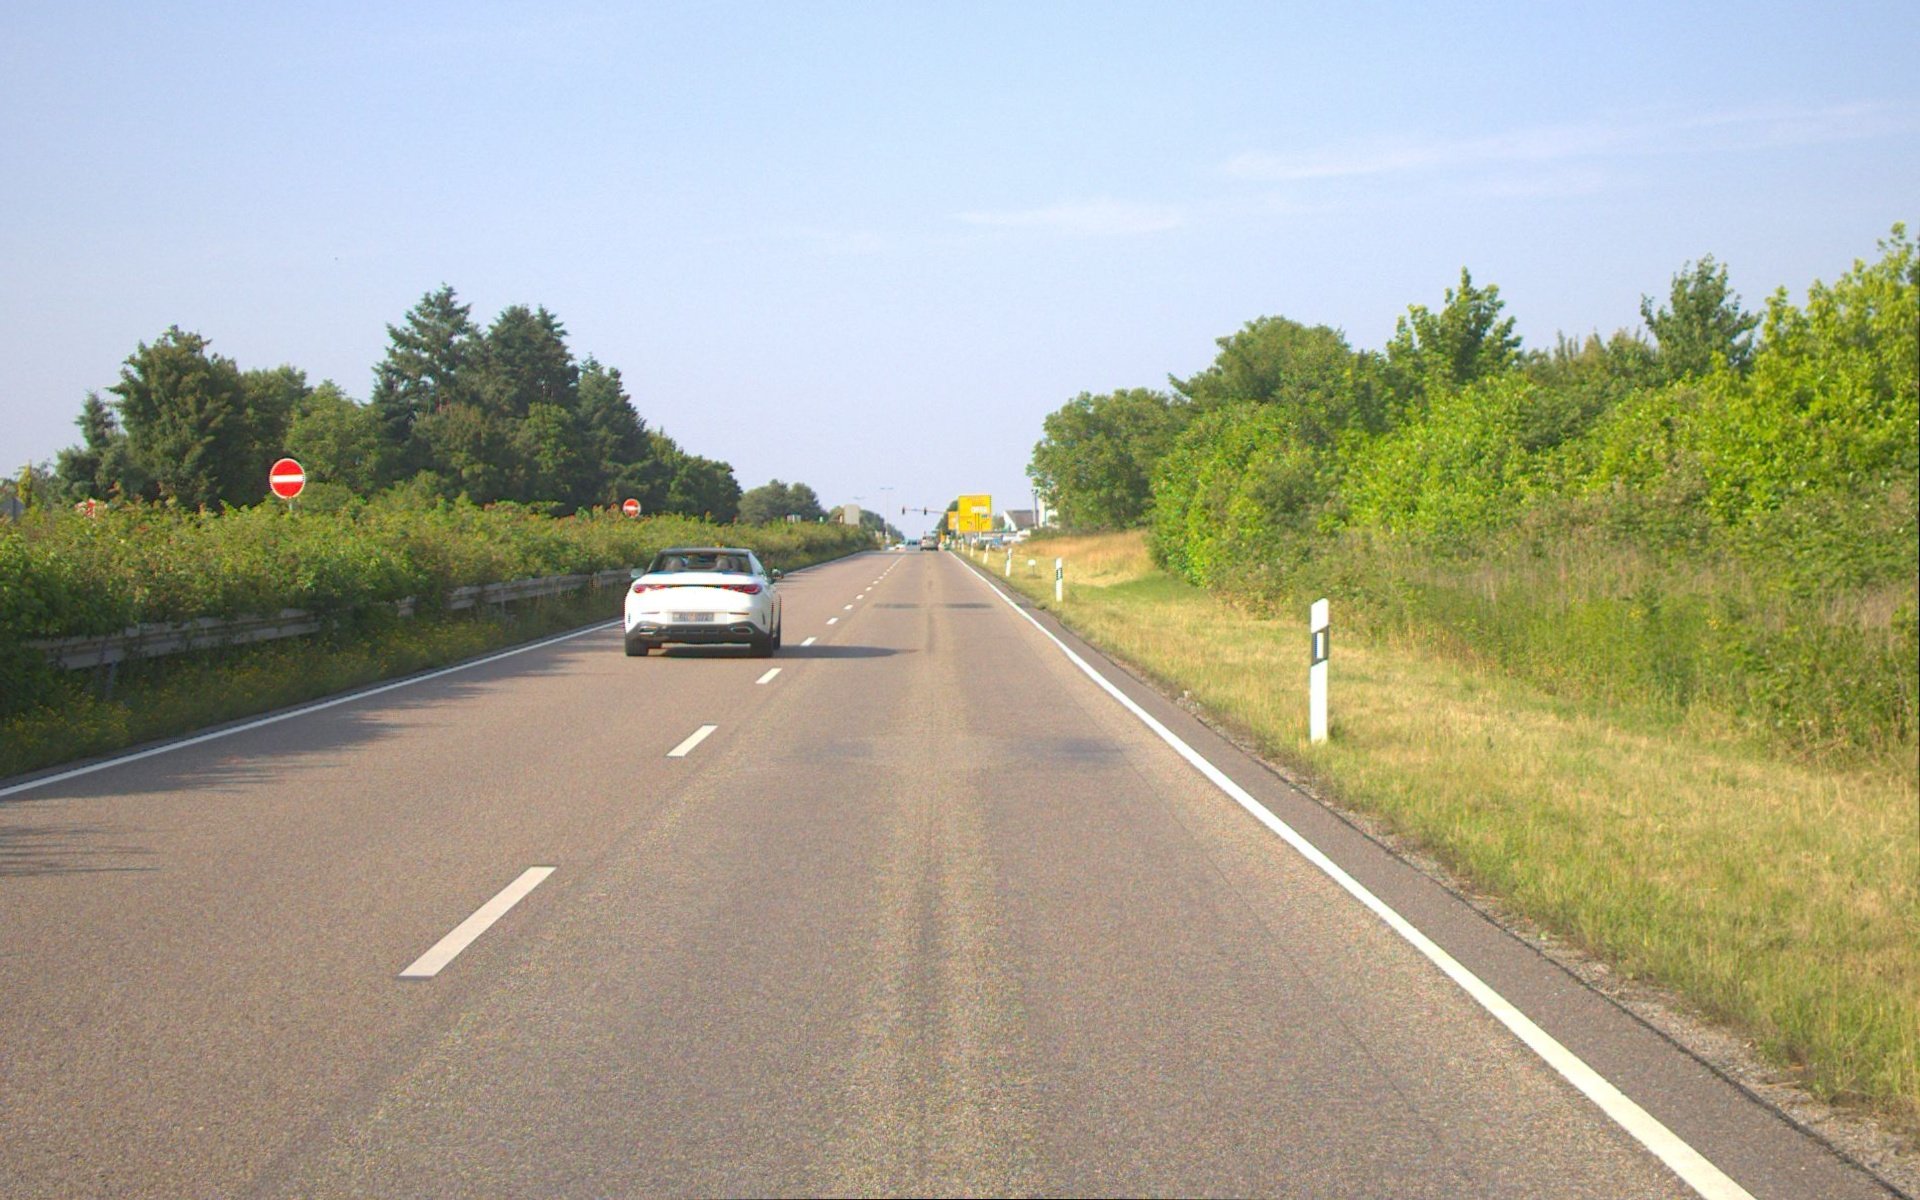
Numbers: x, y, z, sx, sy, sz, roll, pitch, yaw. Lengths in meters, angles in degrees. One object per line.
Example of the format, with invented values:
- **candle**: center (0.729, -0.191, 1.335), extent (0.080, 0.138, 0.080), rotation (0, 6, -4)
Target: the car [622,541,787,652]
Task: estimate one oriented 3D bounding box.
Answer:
- **car**: center (-3.262, -0.076, 44.683), extent (1.771, 1.333, 4.950), rotation (1, 1, 0)
